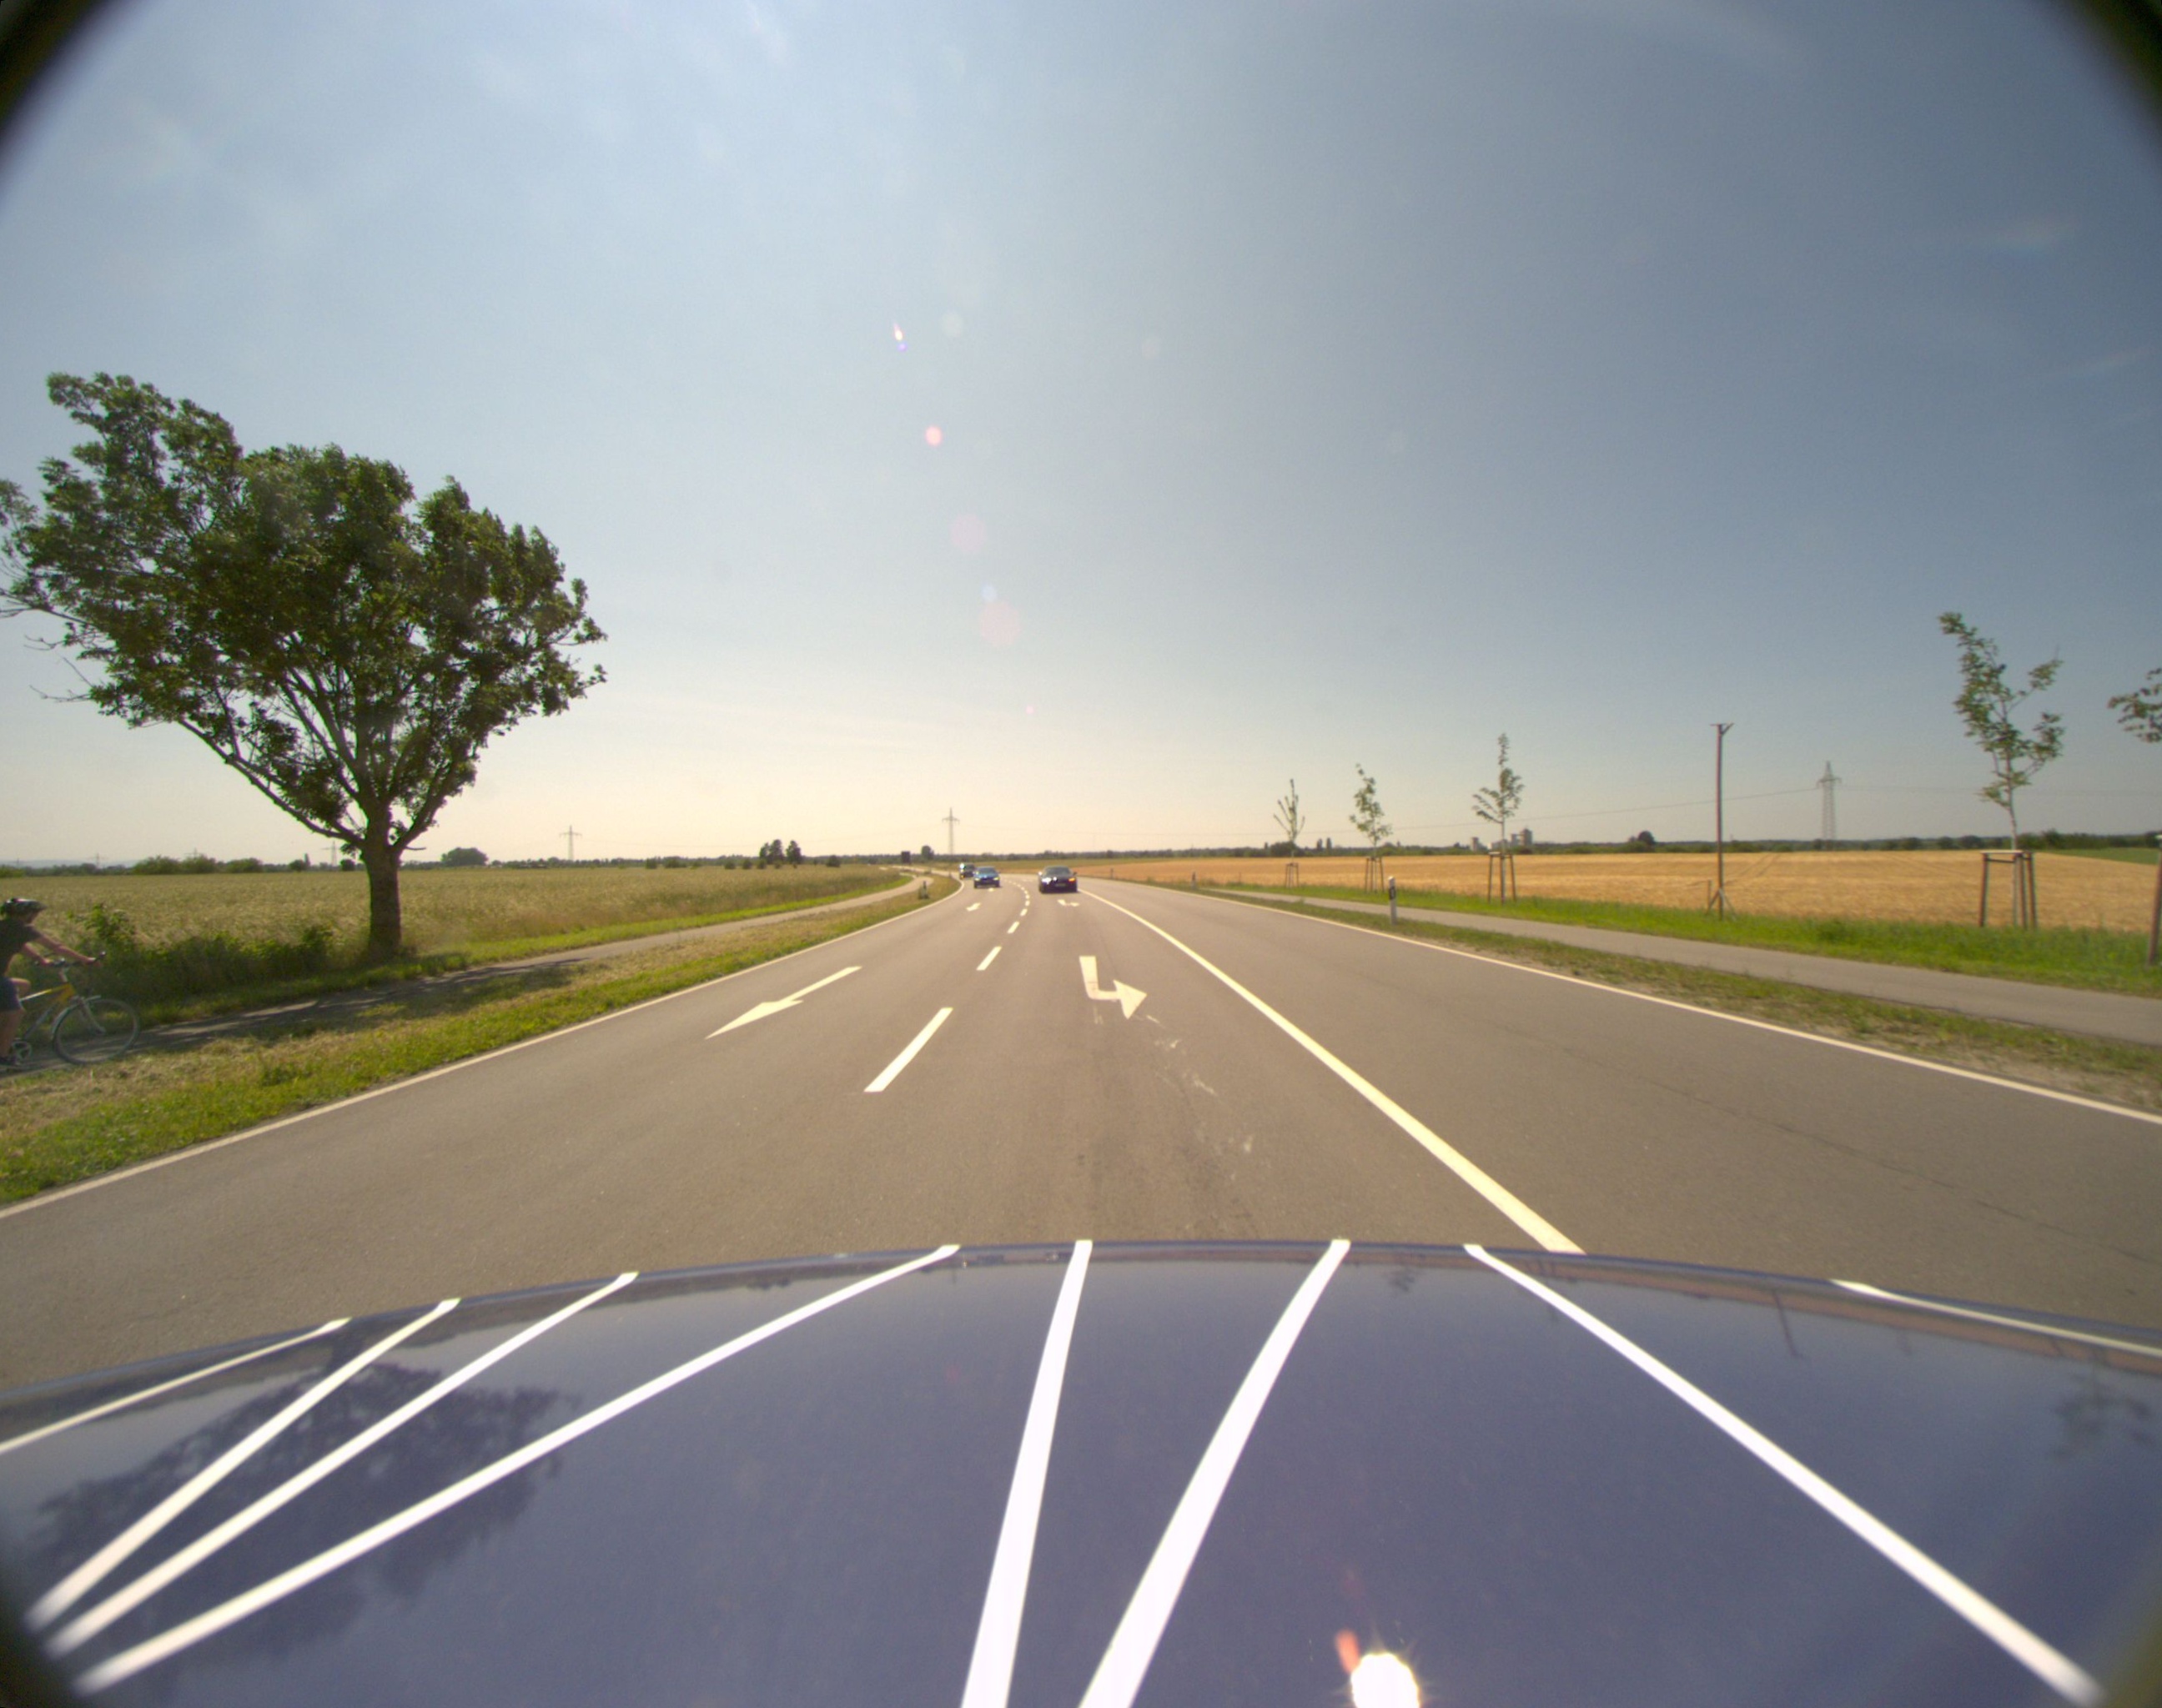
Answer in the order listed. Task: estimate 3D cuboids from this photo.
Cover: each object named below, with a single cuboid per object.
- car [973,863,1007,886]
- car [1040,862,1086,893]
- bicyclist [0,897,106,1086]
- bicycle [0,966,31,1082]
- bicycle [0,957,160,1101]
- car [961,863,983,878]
[{"bbox_3d":[-6.465,1.429,54.192,2.190,1.458,5.011,-2,0,-6],"label":"car"},{"bbox_3d":[-1.068,1.232,41.620,2.190,1.458,5.011,-2,0,-5],"label":"car"},{"bbox_3d":[-10.360,1.322,7.179,0.588,1.724,1.173,-6,-1,9],"label":"bicyclist"},{"bbox_3d":[-11.902,1.844,7.263,0.700,1.203,2.051,-4,0,5],"label":"bicycle"},{"bbox_3d":[-10.289,1.712,7.098,0.606,1.170,2.052,-5,0,9],"label":"bicycle"},{"bbox_3d":[-12.213,1.828,84.723,2.191,1.458,5.009,-2,0,-10],"label":"car"}]
